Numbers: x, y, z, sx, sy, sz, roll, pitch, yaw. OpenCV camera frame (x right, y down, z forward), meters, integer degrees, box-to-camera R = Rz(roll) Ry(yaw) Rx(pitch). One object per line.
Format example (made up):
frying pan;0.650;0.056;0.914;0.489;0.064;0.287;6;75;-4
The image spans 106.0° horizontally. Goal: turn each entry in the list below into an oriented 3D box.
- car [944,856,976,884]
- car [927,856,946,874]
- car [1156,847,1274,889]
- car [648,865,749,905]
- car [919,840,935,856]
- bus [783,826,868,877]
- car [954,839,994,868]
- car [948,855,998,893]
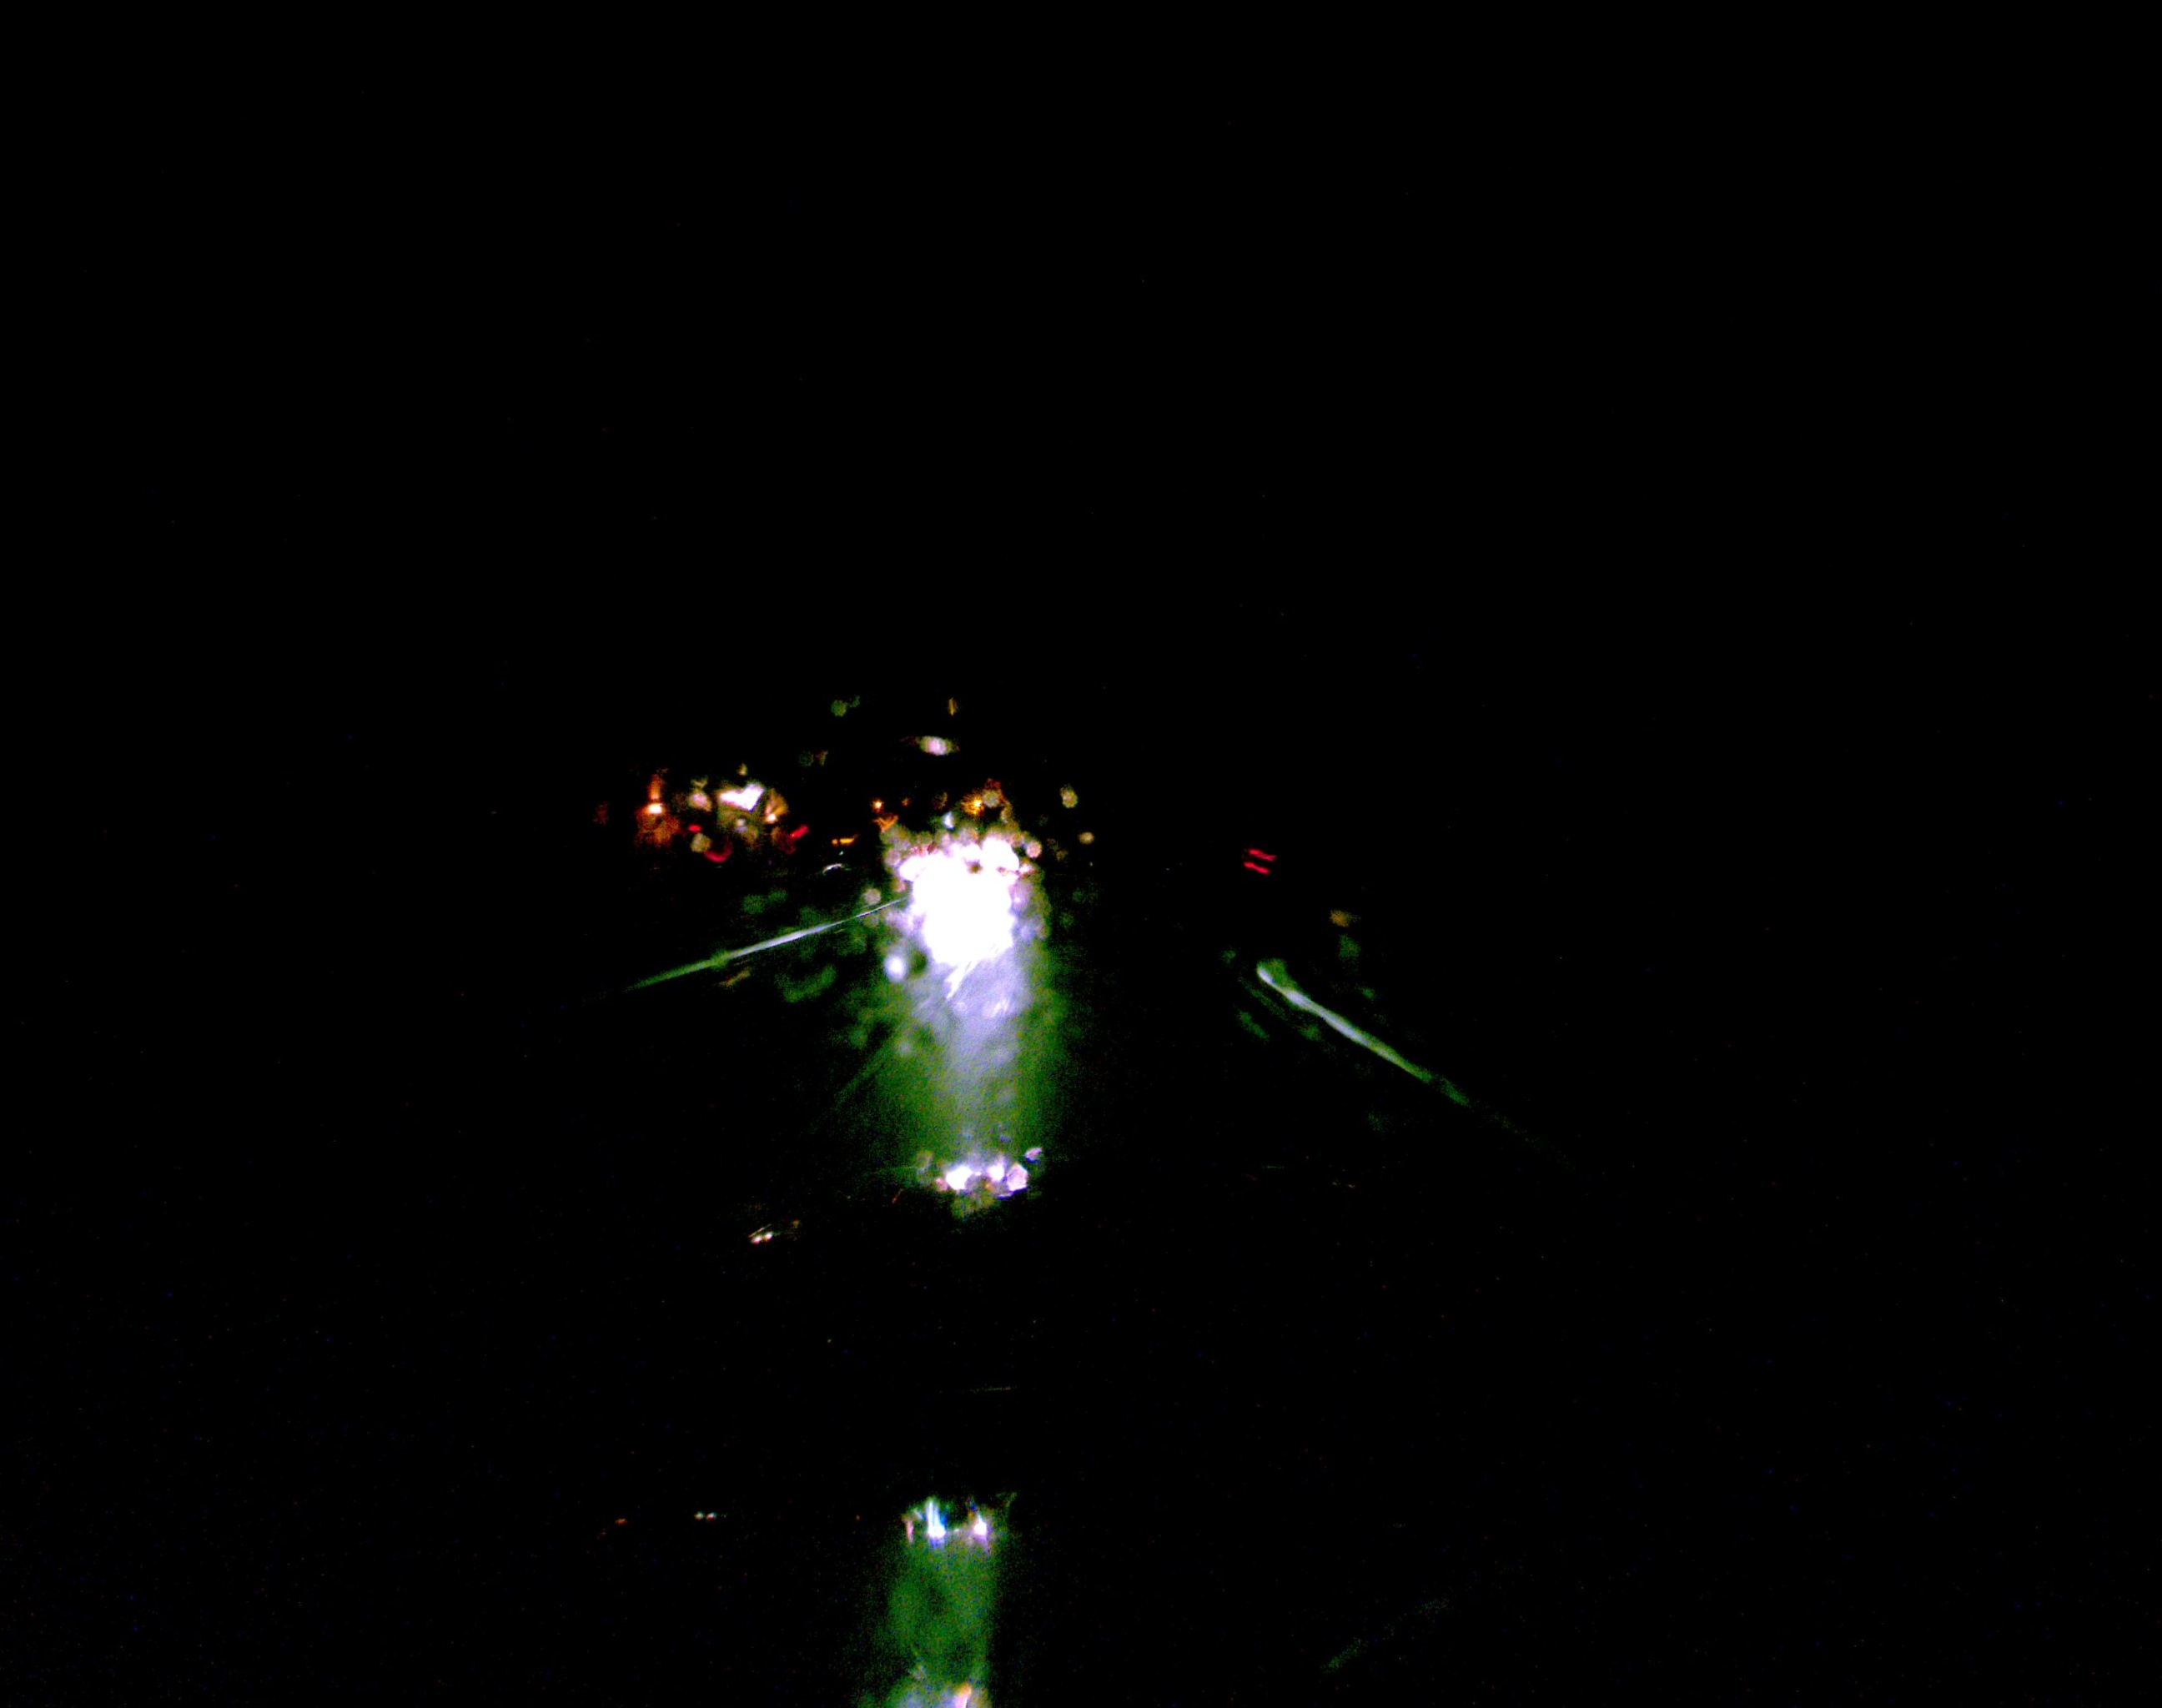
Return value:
car;-6.870;0.872;46.401;1.711;1.476;3.858;1;0;-8
car;-13.164;0.983;74.287;1.696;1.599;3.788;-1;1;-10
car;5.745;0.584;35.232;4.713;1.691;1.973;0;-1;39
car;-16.078;1.252;34.470;1.677;1.398;4.163;-3;0;11
car;-20.436;-0.823;107.889;1.994;2.014;3.985;1;-1;-11
bus;-21.699;-0.251;68.516;2.915;3.868;12.917;0;1;-36
car;-10.417;-0.099;79.021;2.549;2.497;5.674;-1;3;-22
car;-4.564;0.855;34.964;1.953;1.522;4.390;0;-1;-6
